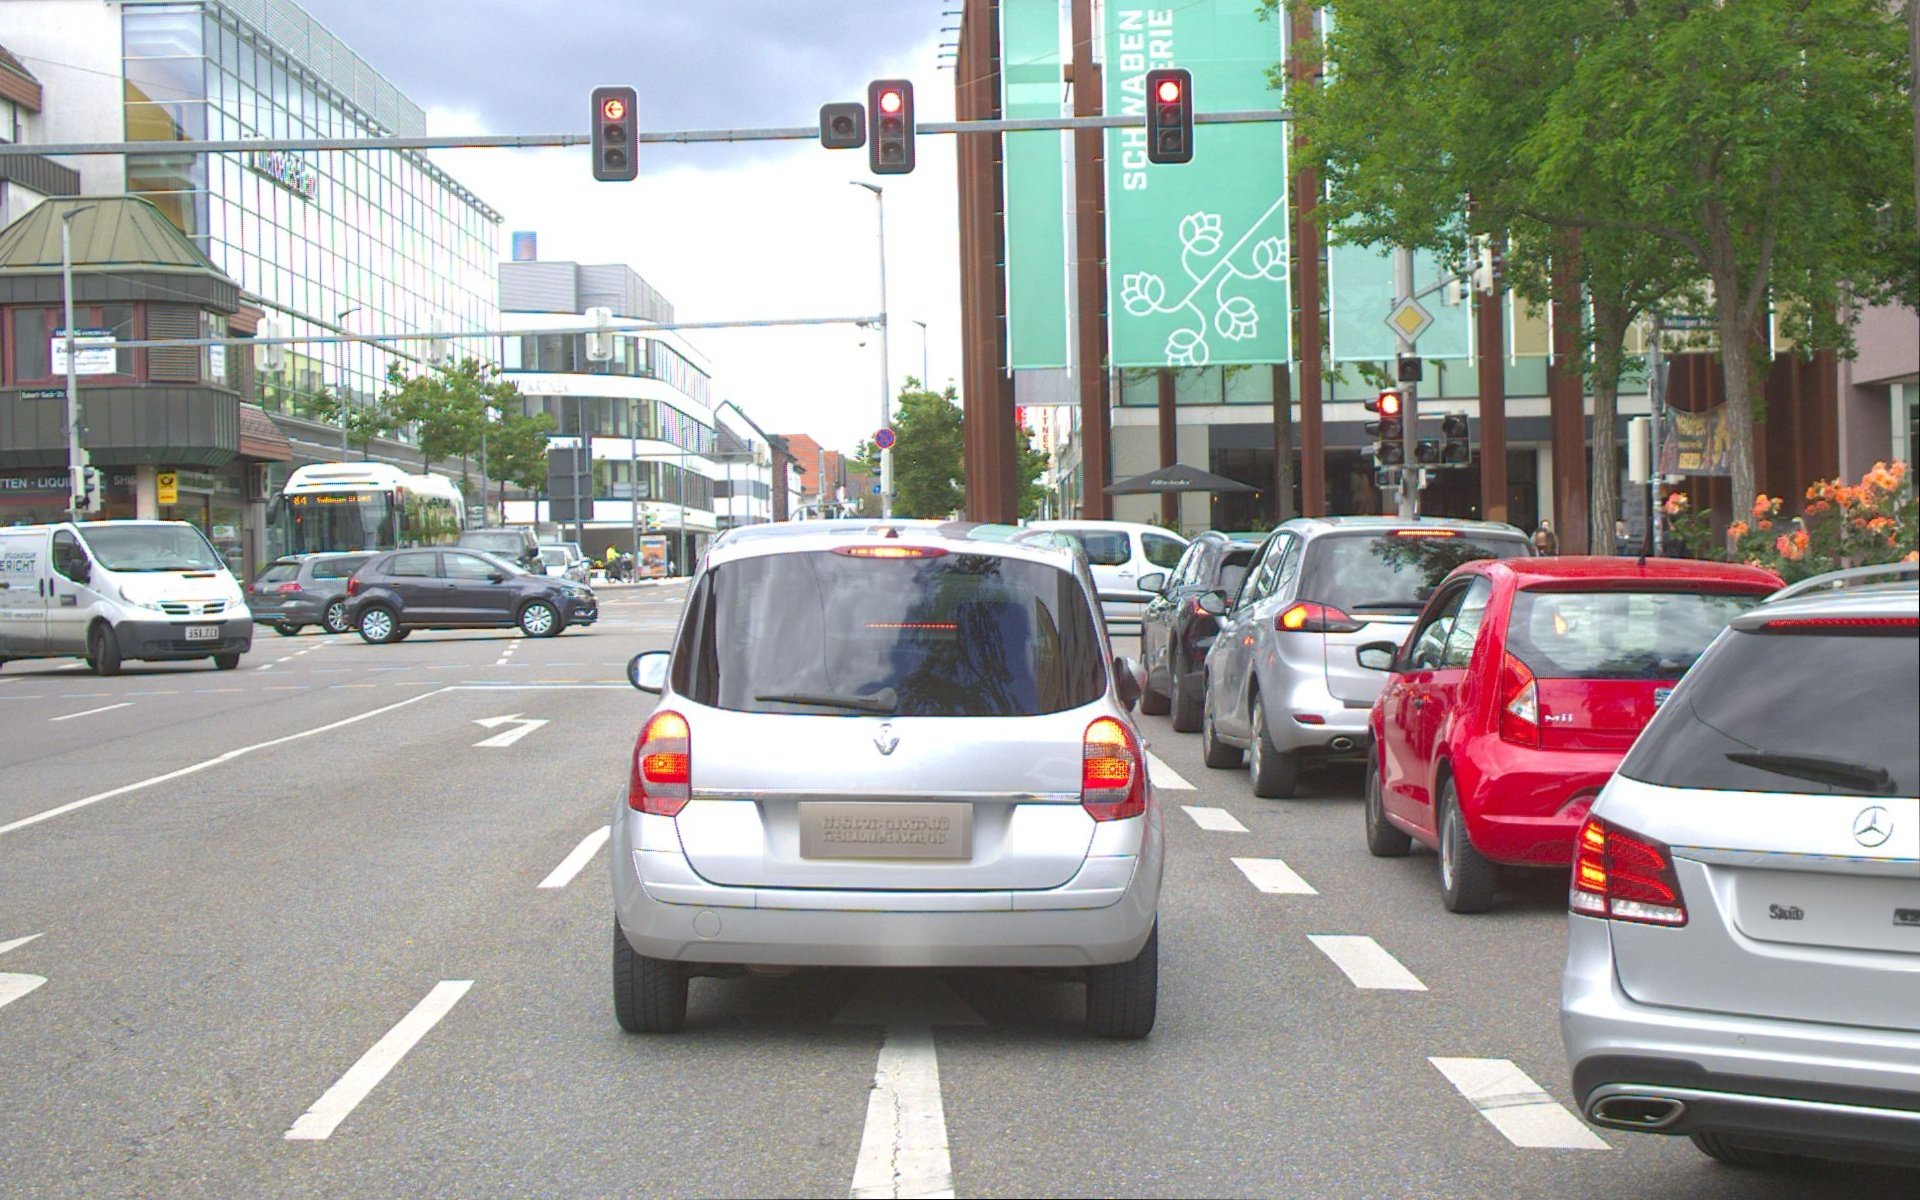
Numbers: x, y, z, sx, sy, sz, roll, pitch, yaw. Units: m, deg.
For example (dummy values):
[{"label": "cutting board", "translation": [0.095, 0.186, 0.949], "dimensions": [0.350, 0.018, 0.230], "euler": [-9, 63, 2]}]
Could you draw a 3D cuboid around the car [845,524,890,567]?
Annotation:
[{"label": "car", "translation": [-4.267, -2.519, 158.495], "dimensions": [1.993, 1.942, 4.951], "euler": [-1, 1, -2]}]

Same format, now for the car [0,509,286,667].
[{"label": "car", "translation": [-10.941, -0.143, 44.368], "dimensions": [1.995, 1.881, 5.156], "euler": [-3, 2, -42]}]

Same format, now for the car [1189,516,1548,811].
[{"label": "car", "translation": [2.426, 0.321, 21.259], "dimensions": [1.586, 1.628, 3.917], "euler": [1, 1, -2]}]

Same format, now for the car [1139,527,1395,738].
[{"label": "car", "translation": [2.449, 0.213, 28.203], "dimensions": [1.586, 1.589, 3.868], "euler": [1, 1, -2]}]

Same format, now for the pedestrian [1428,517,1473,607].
[{"label": "pedestrian", "translation": [9.077, -0.700, 63.633], "dimensions": [0.651, 1.645, 0.559], "euler": [-1, 1, -15]}]

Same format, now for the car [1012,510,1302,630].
[{"label": "car", "translation": [3.022, -0.468, 53.251], "dimensions": [4.385, 1.767, 1.327], "euler": [-1, 1, 0]}]

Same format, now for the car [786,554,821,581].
[{"label": "car", "translation": [-9.105, -1.883, 200.060], "dimensions": [1.801, 1.535, 4.065], "euler": [-1, 1, 1]}]

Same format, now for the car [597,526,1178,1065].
[{"label": "car", "translation": [-0.228, 0.524, 11.464], "dimensions": [1.640, 1.522, 3.394], "euler": [0, 1, -1]}]

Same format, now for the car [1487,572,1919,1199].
[{"label": "car", "translation": [3.265, 0.686, 8.626], "dimensions": [1.819, 1.443, 4.359], "euler": [2, 1, 40]}]

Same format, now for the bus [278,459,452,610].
[{"label": "bus", "translation": [-13.493, -1.500, 78.575], "dimensions": [2.686, 3.250, 8.654], "euler": [-1, 1, -2]}]

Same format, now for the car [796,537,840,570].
[{"label": "car", "translation": [-6.634, -2.184, 160.593], "dimensions": [1.801, 1.535, 4.065], "euler": [-1, 1, 1]}]

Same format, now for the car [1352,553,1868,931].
[{"label": "car", "translation": [2.740, 0.535, 15.153], "dimensions": [1.586, 1.438, 3.348], "euler": [1, 1, 0]}]

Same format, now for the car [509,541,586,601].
[{"label": "car", "translation": [-9.962, -0.714, 83.232], "dimensions": [1.555, 1.387, 3.288], "euler": [-1, 1, -2]}]

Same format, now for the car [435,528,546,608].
[{"label": "car", "translation": [-10.346, -0.730, 75.982], "dimensions": [1.993, 1.700, 4.065], "euler": [-1, 1, -2]}]

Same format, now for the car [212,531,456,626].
[{"label": "car", "translation": [-11.514, -0.423, 63.472], "dimensions": [1.921, 1.671, 4.233], "euler": [0, 1, 37]}]

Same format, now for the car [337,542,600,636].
[{"label": "car", "translation": [-7.602, -0.184, 53.418], "dimensions": [3.830, 1.384, 1.684], "euler": [-1, 1, 0]}]
